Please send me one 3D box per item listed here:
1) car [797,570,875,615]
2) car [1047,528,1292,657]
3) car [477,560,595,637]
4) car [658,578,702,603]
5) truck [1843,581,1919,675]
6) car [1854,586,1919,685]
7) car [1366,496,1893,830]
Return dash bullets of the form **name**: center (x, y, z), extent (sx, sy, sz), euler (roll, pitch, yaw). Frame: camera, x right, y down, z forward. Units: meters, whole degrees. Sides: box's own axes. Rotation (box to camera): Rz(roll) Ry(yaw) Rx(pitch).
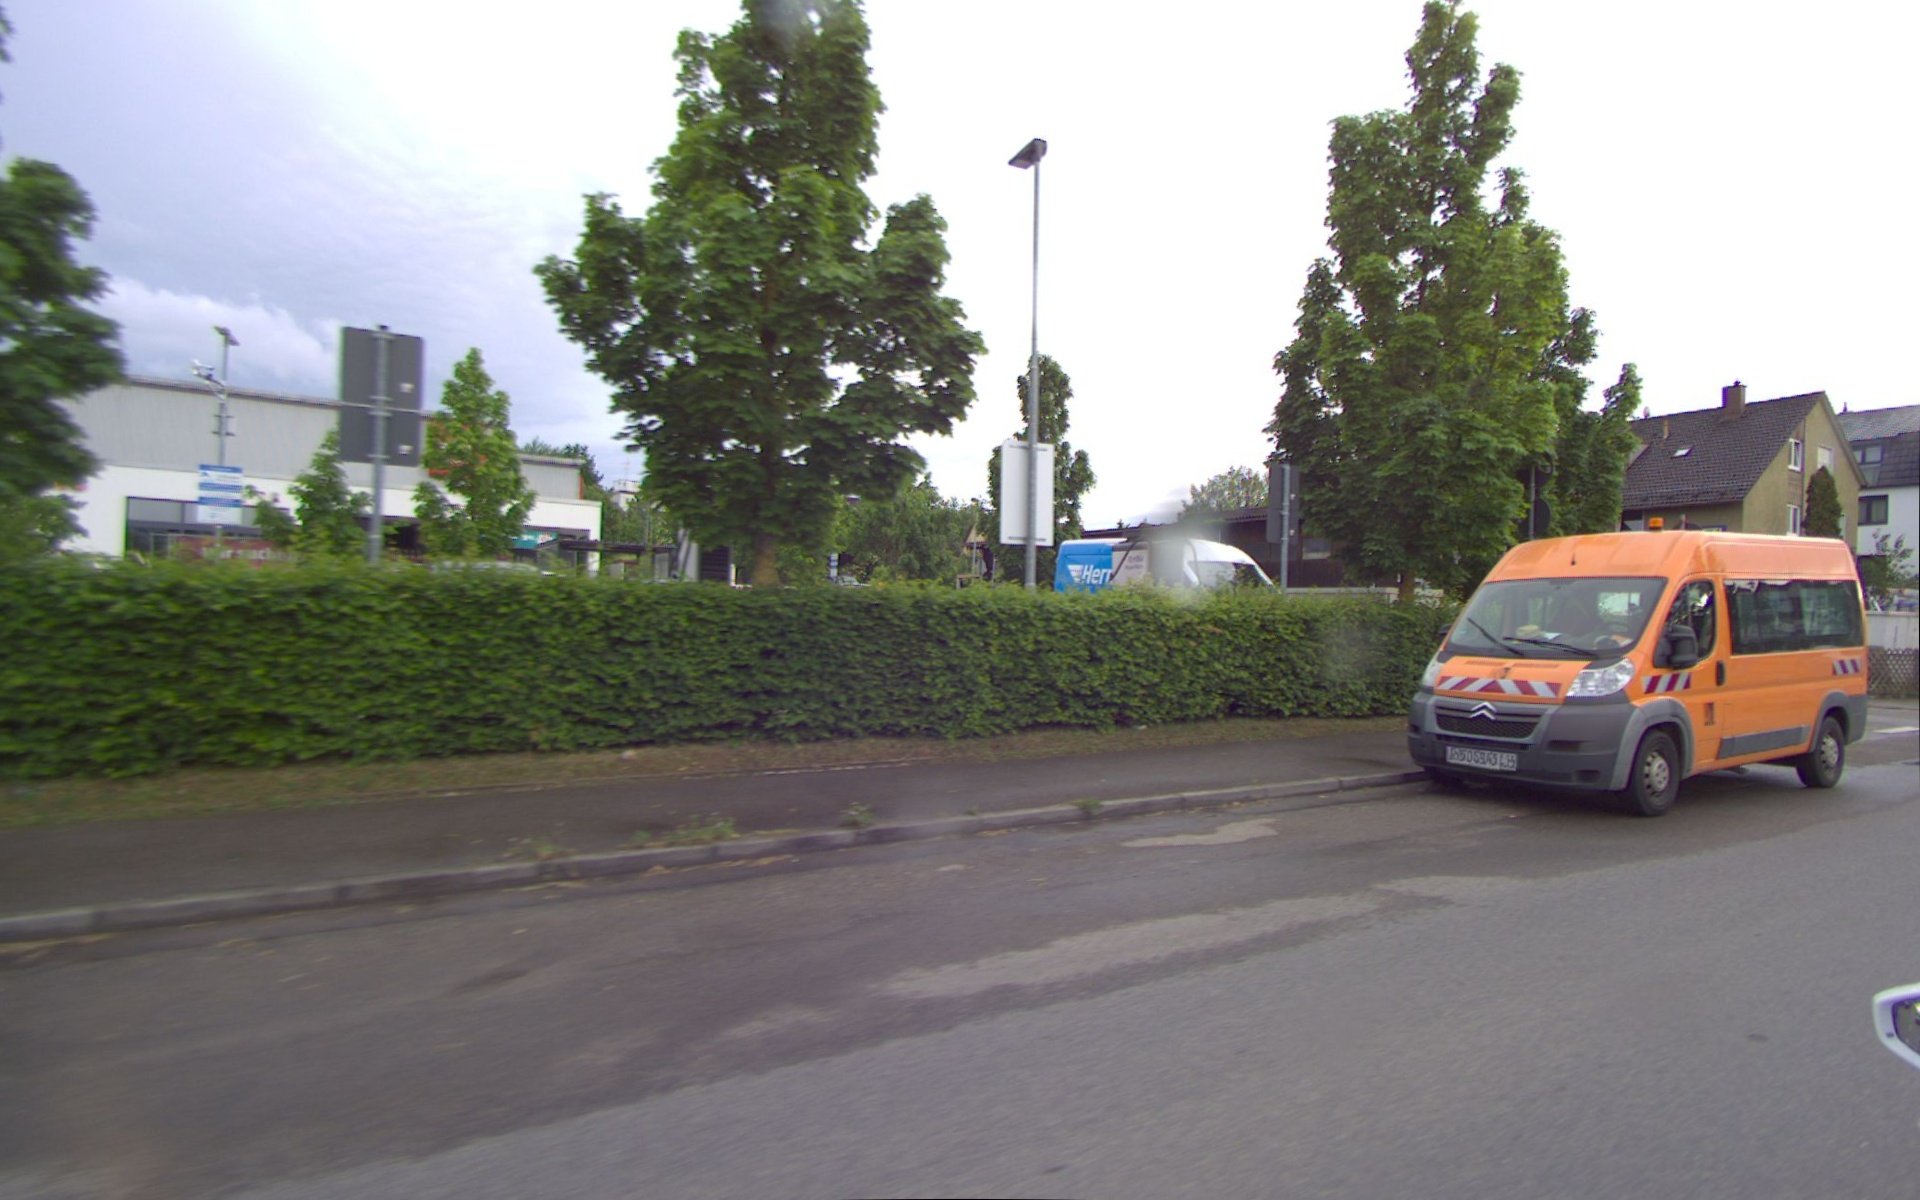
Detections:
- **car**: center (-6.758, -0.437, 54.258), extent (1.956, 2.269, 5.190), euler (2, 1, -35)
- **car**: center (3.669, -0.139, 18.398), extent (2.038, 2.040, 4.286), euler (2, 0, -30)
- **car**: center (-9.540, -0.073, 22.455), extent (1.677, 1.540, 3.864), euler (2, 0, -34)
- **car**: center (-21.686, -0.743, 77.651), extent (1.956, 1.797, 4.194), euler (2, 0, -35)
- **truck**: center (33.285, 0.997, 32.994), extent (2.420, 3.114, 5.885), euler (2, 0, -29)
- **car**: center (27.993, 1.055, 28.492), extent (6.129, 2.601, 2.065), euler (2, 0, -30)
- **car**: center (6.942, 0.571, 10.186), extent (5.952, 2.571, 2.114), euler (1, -2, -31)
